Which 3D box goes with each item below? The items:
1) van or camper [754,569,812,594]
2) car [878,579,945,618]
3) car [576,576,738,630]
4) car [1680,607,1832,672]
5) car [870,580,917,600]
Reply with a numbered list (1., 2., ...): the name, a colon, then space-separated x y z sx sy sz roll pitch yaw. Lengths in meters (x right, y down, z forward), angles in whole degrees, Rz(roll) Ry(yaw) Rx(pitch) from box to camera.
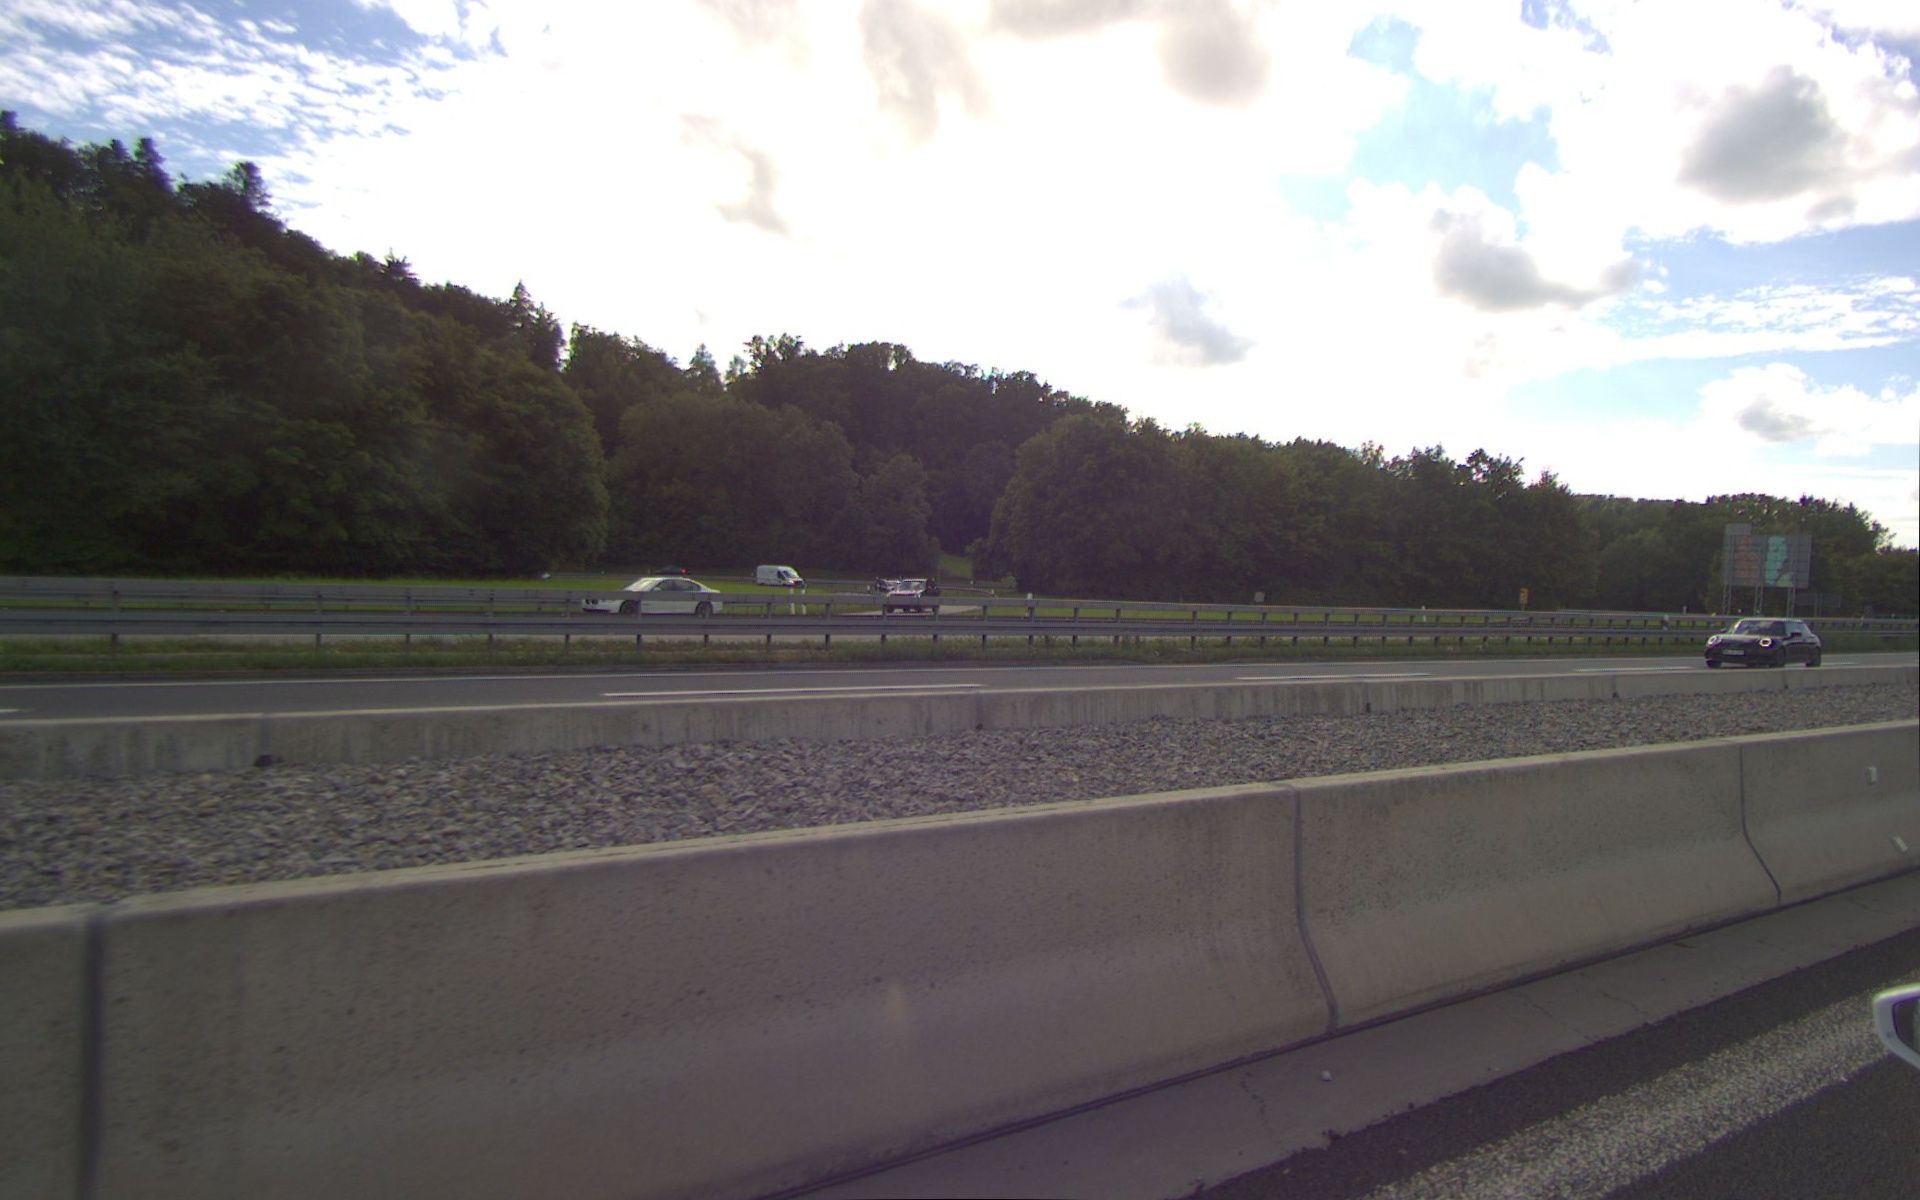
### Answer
1. van or camper: -17.221 -1.821 97.401 5.636 2.279 2.099 2 1 34
2. car: -2.368 -0.083 50.705 2.353 1.795 5.246 2 1 8
3. car: -10.219 0.108 34.295 1.910 1.694 5.205 2 1 36
4. car: 22.957 1.117 28.931 4.322 1.714 1.984 1 0 -30
5. car: -5.352 -0.831 80.676 1.716 1.470 4.257 1 1 -37
